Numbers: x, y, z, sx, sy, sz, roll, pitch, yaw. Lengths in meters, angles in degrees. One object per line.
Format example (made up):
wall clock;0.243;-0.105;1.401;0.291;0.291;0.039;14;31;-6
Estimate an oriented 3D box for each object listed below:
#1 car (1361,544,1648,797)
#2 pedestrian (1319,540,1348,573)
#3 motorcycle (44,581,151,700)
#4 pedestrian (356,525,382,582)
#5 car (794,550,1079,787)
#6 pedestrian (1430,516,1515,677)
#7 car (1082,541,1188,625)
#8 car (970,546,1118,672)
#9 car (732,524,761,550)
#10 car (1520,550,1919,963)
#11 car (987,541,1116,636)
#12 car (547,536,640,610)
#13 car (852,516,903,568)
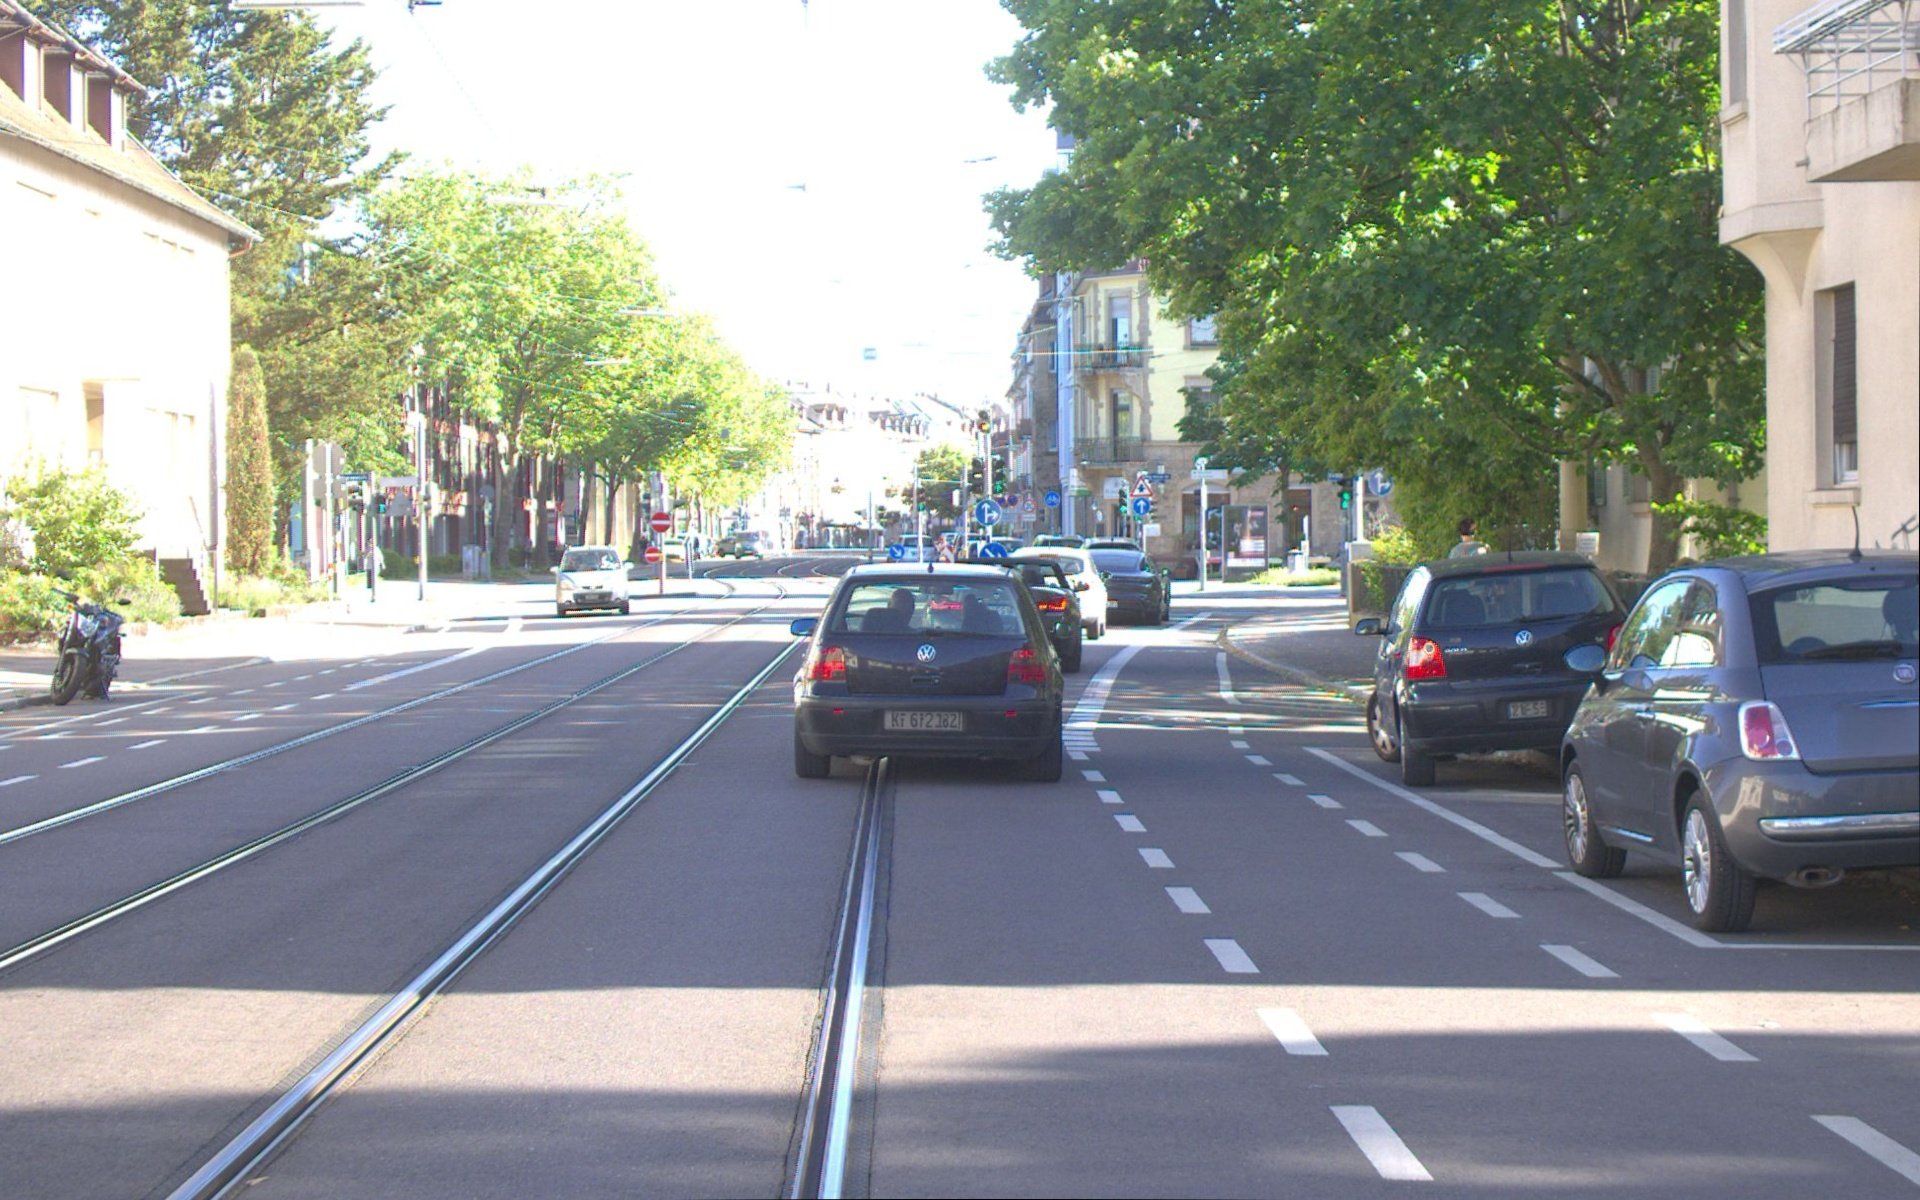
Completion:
car;3.625;0.415;23.390;1.666;1.558;3.770;1;1;5
pedestrian;13.764;-1.600;126.745;0.979;1.183;0.743;0;1;-1
motorcycle;-8.972;0.403;35.816;0.536;1.158;2.172;-2;1;0
pedestrian;-17.614;-1.385;102.423;0.609;1.684;0.734;2;1;-19
car;-0.164;0.391;23.018;1.716;1.398;4.006;1;1;-1
pedestrian;5.495;-0.044;36.912;0.717;1.682;0.870;-2;1;-2
car;3.205;-0.336;63.339;1.569;1.306;3.648;-1;4;-3
car;0.953;0.069;40.492;1.634;1.367;3.757;-1;1;0
car;-15.051;-4.458;242.101;1.971;1.809;4.297;-1;1;-5
car;3.589;0.576;14.792;1.601;1.520;3.550;1;1;-3
car;1.499;-0.211;54.913;1.740;1.436;3.809;0;1;6
car;-7.672;-0.588;72.200;1.575;1.472;3.441;-1;1;-1
car;-3.098;-2.203;128.958;1.787;1.853;4.001;2;1;-2
